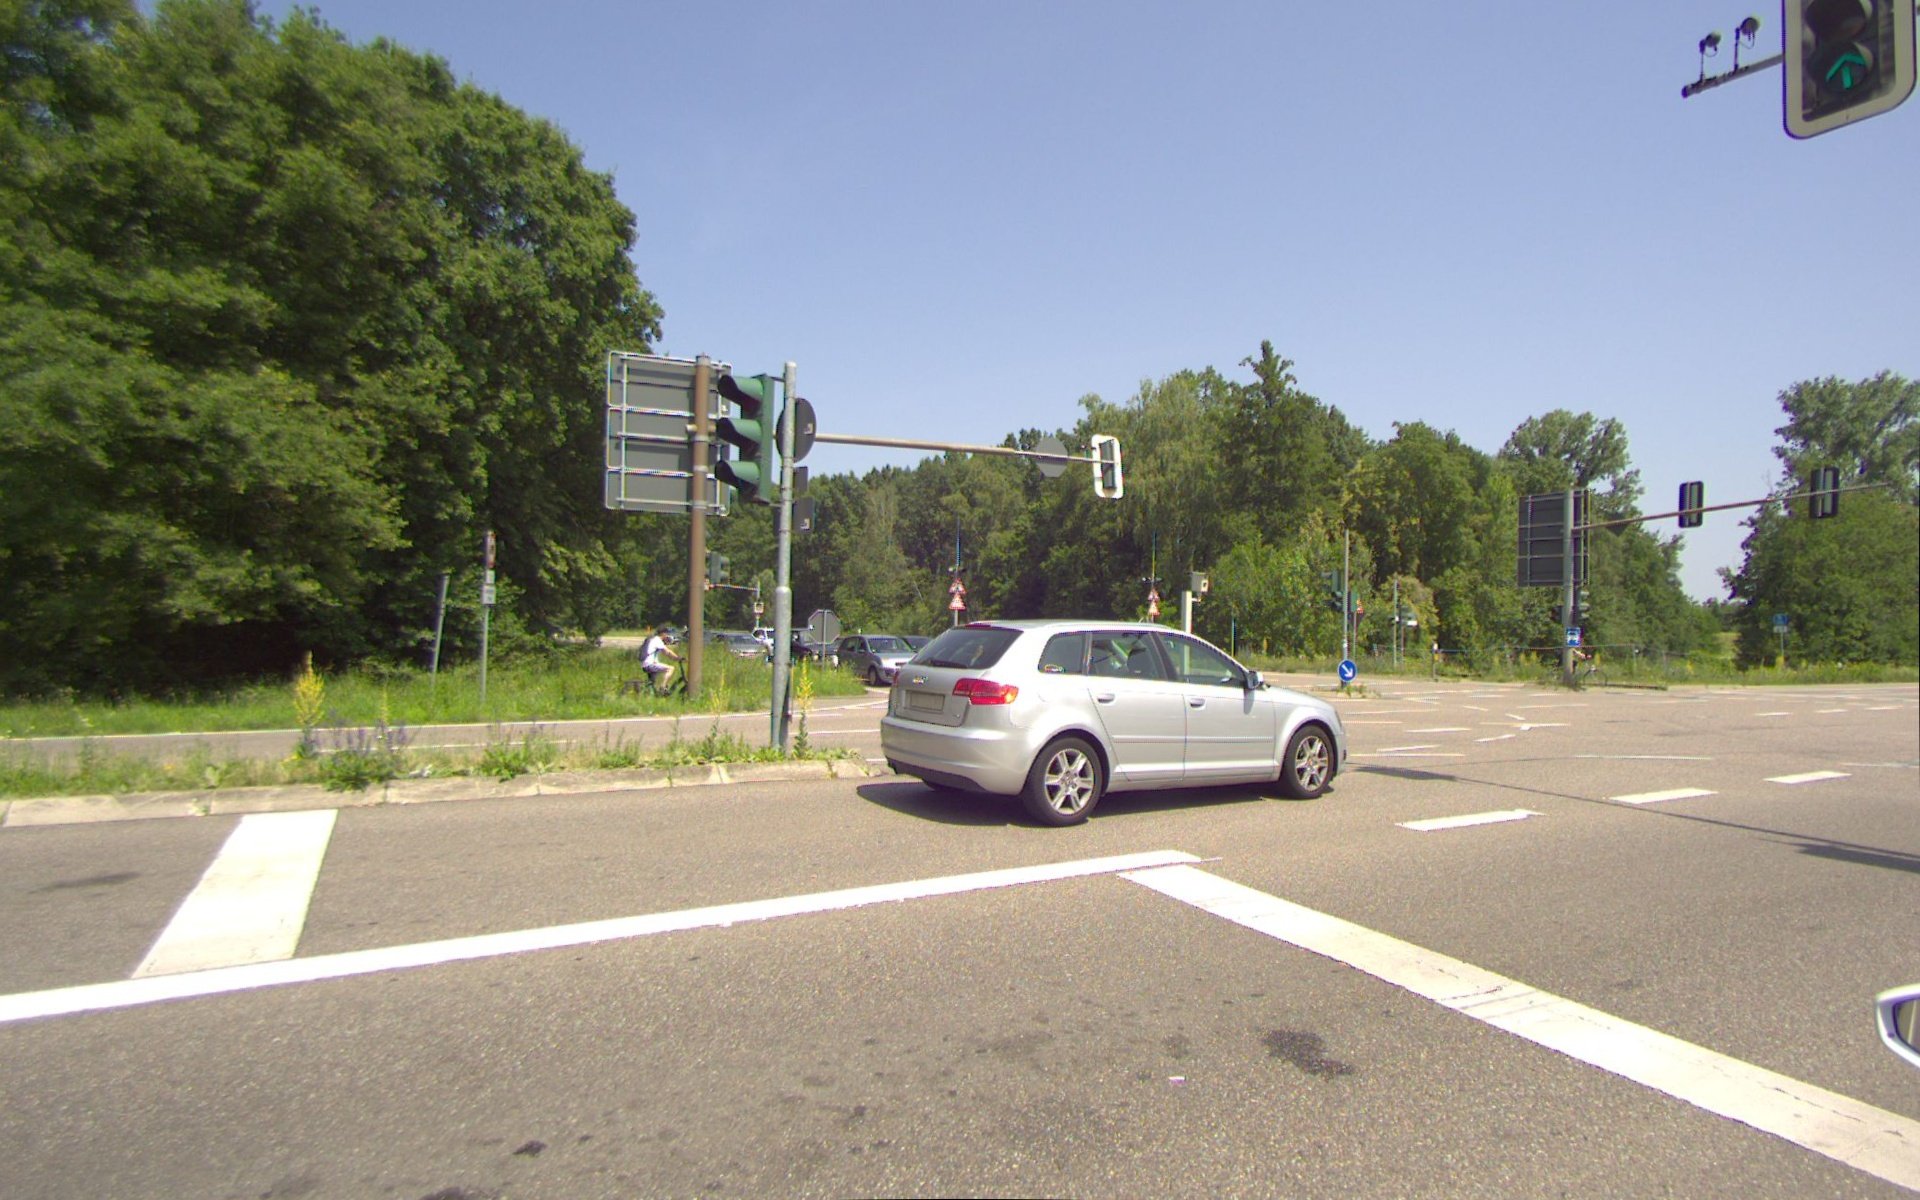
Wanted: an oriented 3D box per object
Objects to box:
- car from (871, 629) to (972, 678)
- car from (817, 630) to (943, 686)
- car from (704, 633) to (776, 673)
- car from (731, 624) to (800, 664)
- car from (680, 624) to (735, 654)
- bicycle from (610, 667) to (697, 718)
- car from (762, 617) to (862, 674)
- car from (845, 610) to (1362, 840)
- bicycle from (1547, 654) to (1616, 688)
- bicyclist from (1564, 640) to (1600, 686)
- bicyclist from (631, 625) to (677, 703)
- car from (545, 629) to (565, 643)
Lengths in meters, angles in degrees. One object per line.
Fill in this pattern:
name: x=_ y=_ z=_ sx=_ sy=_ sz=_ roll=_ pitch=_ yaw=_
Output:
car: x=-1.506 y=1.934 z=37.195 sx=1.974 sy=1.657 sz=4.790 roll=2 pitch=-2 yaw=-26
car: x=-2.594 y=1.749 z=31.420 sx=2.104 sy=1.588 sz=4.784 roll=2 pitch=-2 yaw=-29
car: x=-9.835 y=2.338 z=44.744 sx=1.851 sy=1.657 sz=4.377 roll=2 pitch=-2 yaw=-30
car: x=-9.927 y=2.205 z=51.001 sx=2.041 sy=1.920 sz=4.785 roll=2 pitch=-2 yaw=-28
car: x=-15.506 y=2.366 z=61.471 sx=1.977 sy=1.780 sz=4.781 roll=2 pitch=-2 yaw=-31
bicycle: x=-5.947 y=1.780 z=19.483 sx=1.581 sy=0.935 sz=0.564 roll=2 pitch=-2 yaw=-21
car: x=-5.443 y=1.640 z=36.488 sx=1.976 sy=1.923 sz=4.783 roll=2 pitch=-2 yaw=-30
car: x=1.252 y=0.848 z=8.155 sx=3.971 sy=1.410 sz=1.755 roll=2 pitch=0 yaw=-33
bicycle: x=20.894 y=2.387 z=33.784 sx=1.831 sy=1.077 sz=0.725 roll=1 pitch=-2 yaw=8
bicyclist: x=20.915 y=2.105 z=33.781 sx=0.701 sy=1.479 sz=0.927 roll=1 pitch=-2 yaw=8
bicyclist: x=-5.938 y=1.239 z=19.501 sx=0.798 sy=1.484 sz=0.658 roll=1 pitch=-2 yaw=-20
car: x=-50.719 y=4.510 z=125.735 sx=1.974 sy=1.657 sz=4.790 roll=2 pitch=-2 yaw=-26
